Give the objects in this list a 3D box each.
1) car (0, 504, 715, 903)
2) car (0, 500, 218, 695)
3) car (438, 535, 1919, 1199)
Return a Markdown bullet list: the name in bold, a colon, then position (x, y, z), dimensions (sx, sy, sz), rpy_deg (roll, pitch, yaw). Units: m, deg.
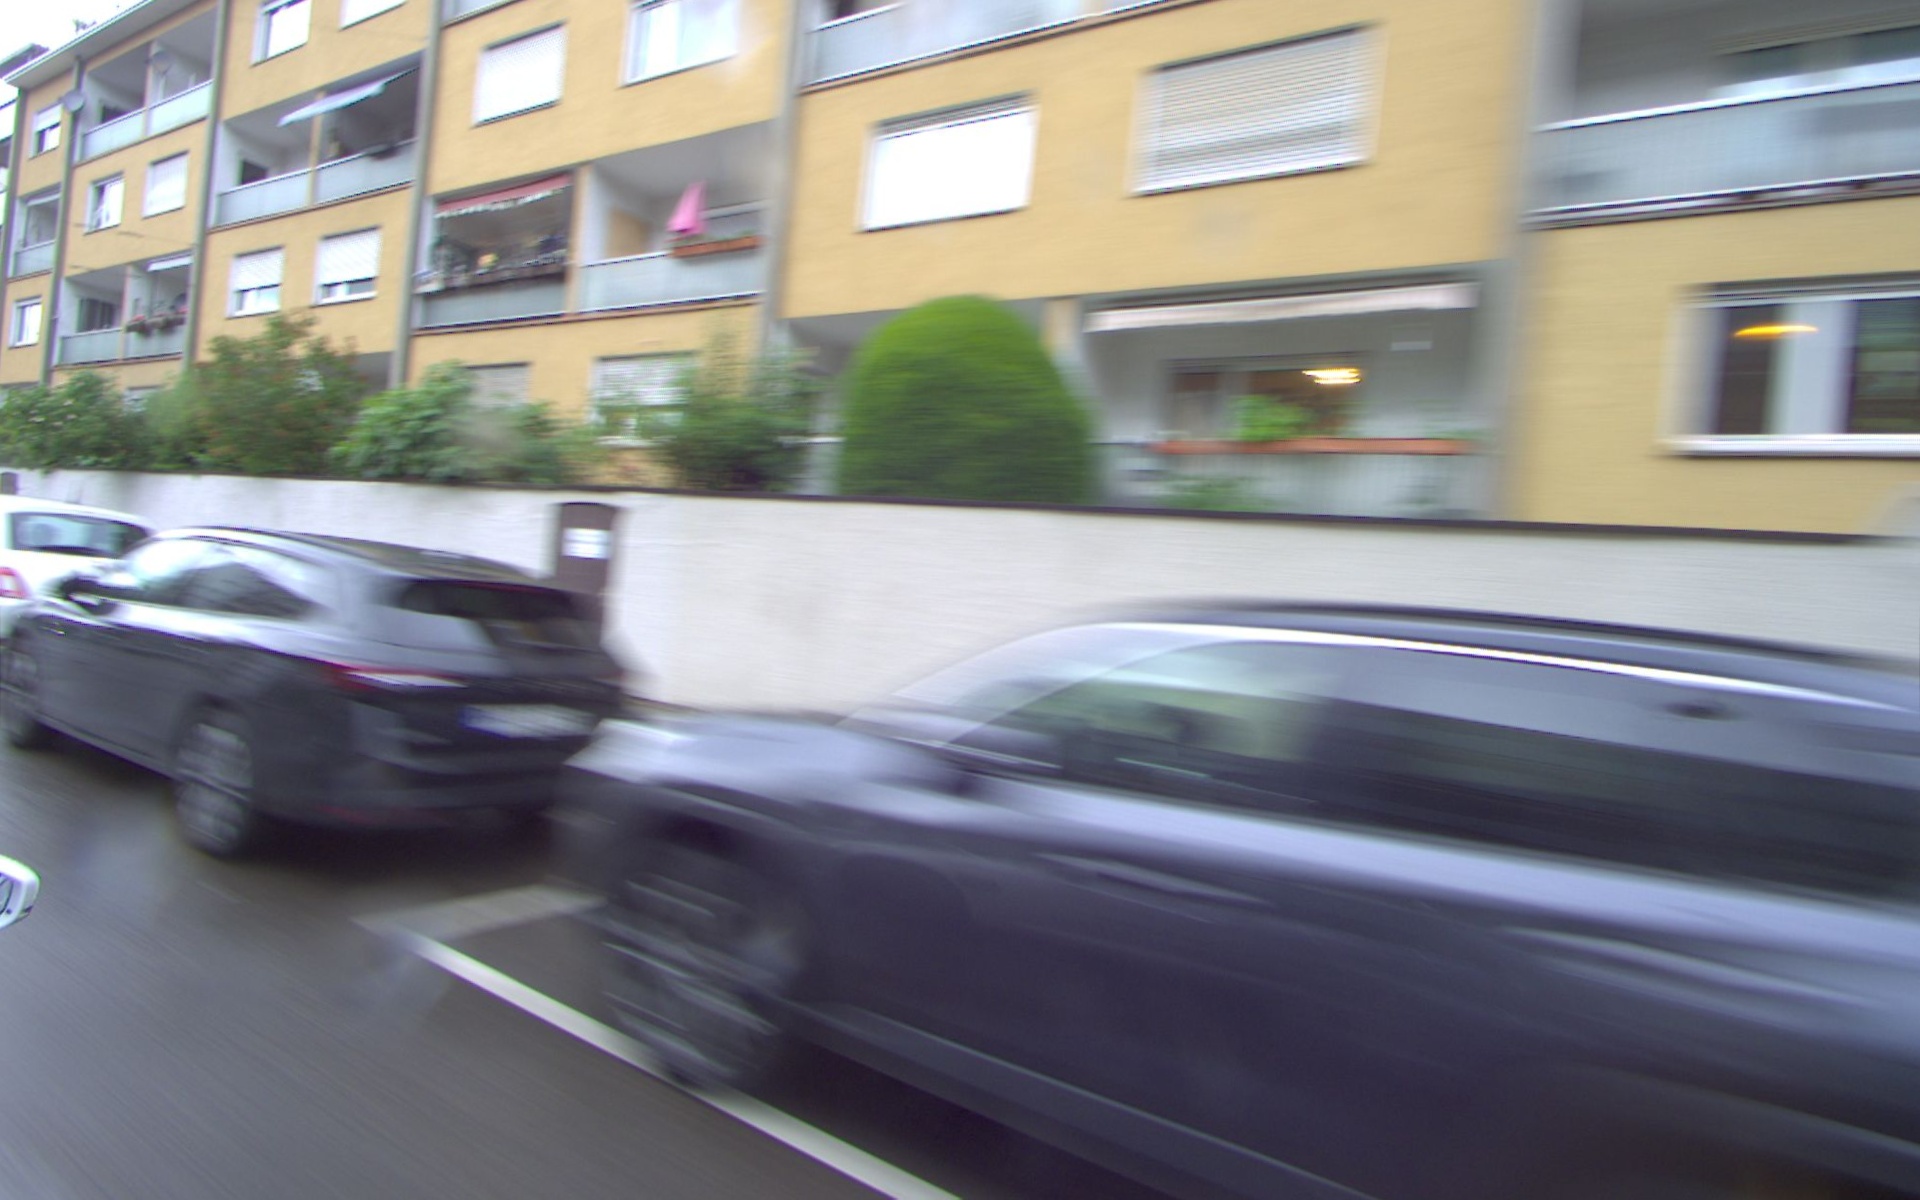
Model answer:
- **car**: position (-3.764, 0.371, 5.854), dimensions (4.378, 1.443, 1.914), rpy_deg (5, -2, 31)
- **car**: position (-8.519, -0.101, 9.040), dimensions (3.495, 1.470, 1.689), rpy_deg (5, -2, 31)
- **car**: position (0.633, 0.845, 3.103), dimensions (4.500, 1.666, 1.804), rpy_deg (5, -2, 31)
